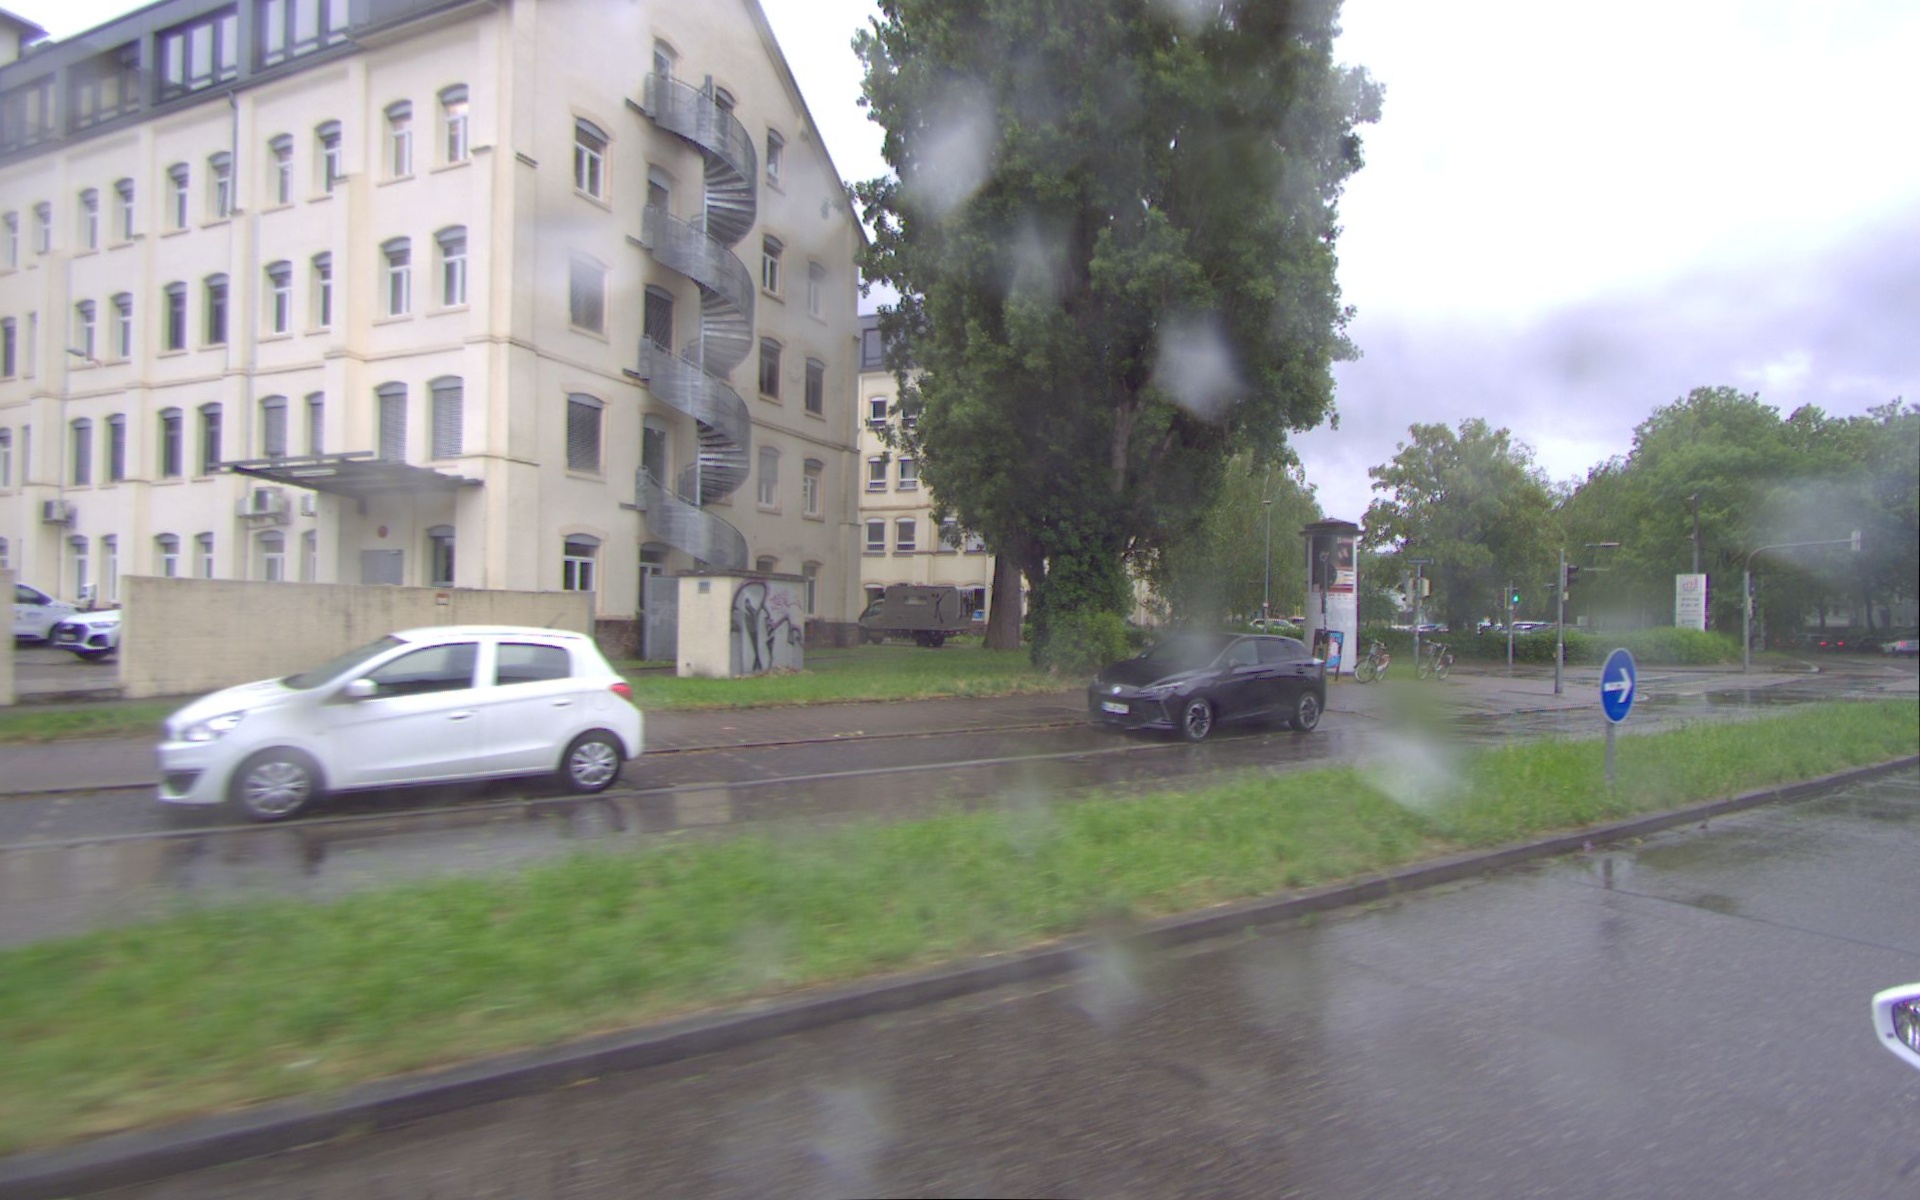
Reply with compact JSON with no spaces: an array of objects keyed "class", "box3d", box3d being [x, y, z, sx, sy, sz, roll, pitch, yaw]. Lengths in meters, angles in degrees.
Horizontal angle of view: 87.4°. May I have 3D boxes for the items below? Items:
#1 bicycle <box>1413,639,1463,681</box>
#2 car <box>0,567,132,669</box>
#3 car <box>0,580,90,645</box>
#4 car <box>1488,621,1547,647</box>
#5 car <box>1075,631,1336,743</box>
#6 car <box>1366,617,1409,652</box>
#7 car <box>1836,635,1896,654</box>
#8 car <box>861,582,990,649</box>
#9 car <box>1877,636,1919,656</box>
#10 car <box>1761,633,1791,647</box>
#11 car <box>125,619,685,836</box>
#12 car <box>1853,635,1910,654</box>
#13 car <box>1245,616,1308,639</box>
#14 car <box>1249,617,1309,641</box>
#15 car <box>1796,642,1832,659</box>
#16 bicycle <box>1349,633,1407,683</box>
[{"class":"bicycle","box3d":[13.283,1.650,27.878,1.781,1.091,0.550,2,-1,-41]},{"class":"car","box3d":[-19.942,0.333,20.664,1.961,2.040,3.999,2,-1,22]},{"class":"car","box3d":[-27.365,0.346,28.197,1.962,1.788,3.998,1,-1,24]},{"class":"car","box3d":[44.648,2.715,80.524,3.923,1.857,1.854,2,0,23]},{"class":"car","box3d":[3.814,1.248,15.282,4.155,1.416,1.533,2,0,-37]},{"class":"car","box3d":[21.939,1.762,51.657,1.747,1.708,4.025,0,-1,20]},{"class":"car","box3d":[87.445,4.322,96.966,3.921,1.623,2.035,2,0,-1]},{"class":"car","box3d":[-1.838,0.773,52.930,6.098,3.236,2.837,2,0,24]},{"class":"car","box3d":[70.738,3.434,75.476,1.680,1.430,3.641,-1,-2,26]},{"class":"car","box3d":[87.142,4.235,107.286,1.680,1.430,3.641,-1,-2,26]},{"class":"car","box3d":[-4.744,0.978,8.991,4.086,1.493,1.590,2,-1,-38]},{"class":"car","box3d":[85.006,4.093,92.635,3.696,1.623,1.802,2,0,-4]},{"class":"car","box3d":[21.676,1.865,68.834,3.924,1.539,1.999,0,-1,25]},{"class":"car","box3d":[23.462,2.119,73.888,3.925,1.708,1.998,0,-1,26]},{"class":"car","box3d":[79.804,4.710,93.871,1.680,1.430,3.641,-1,-2,26]},{"class":"bicycle","box3d":[10.703,1.476,25.699,1.611,1.202,0.691,2,0,-41]}]
